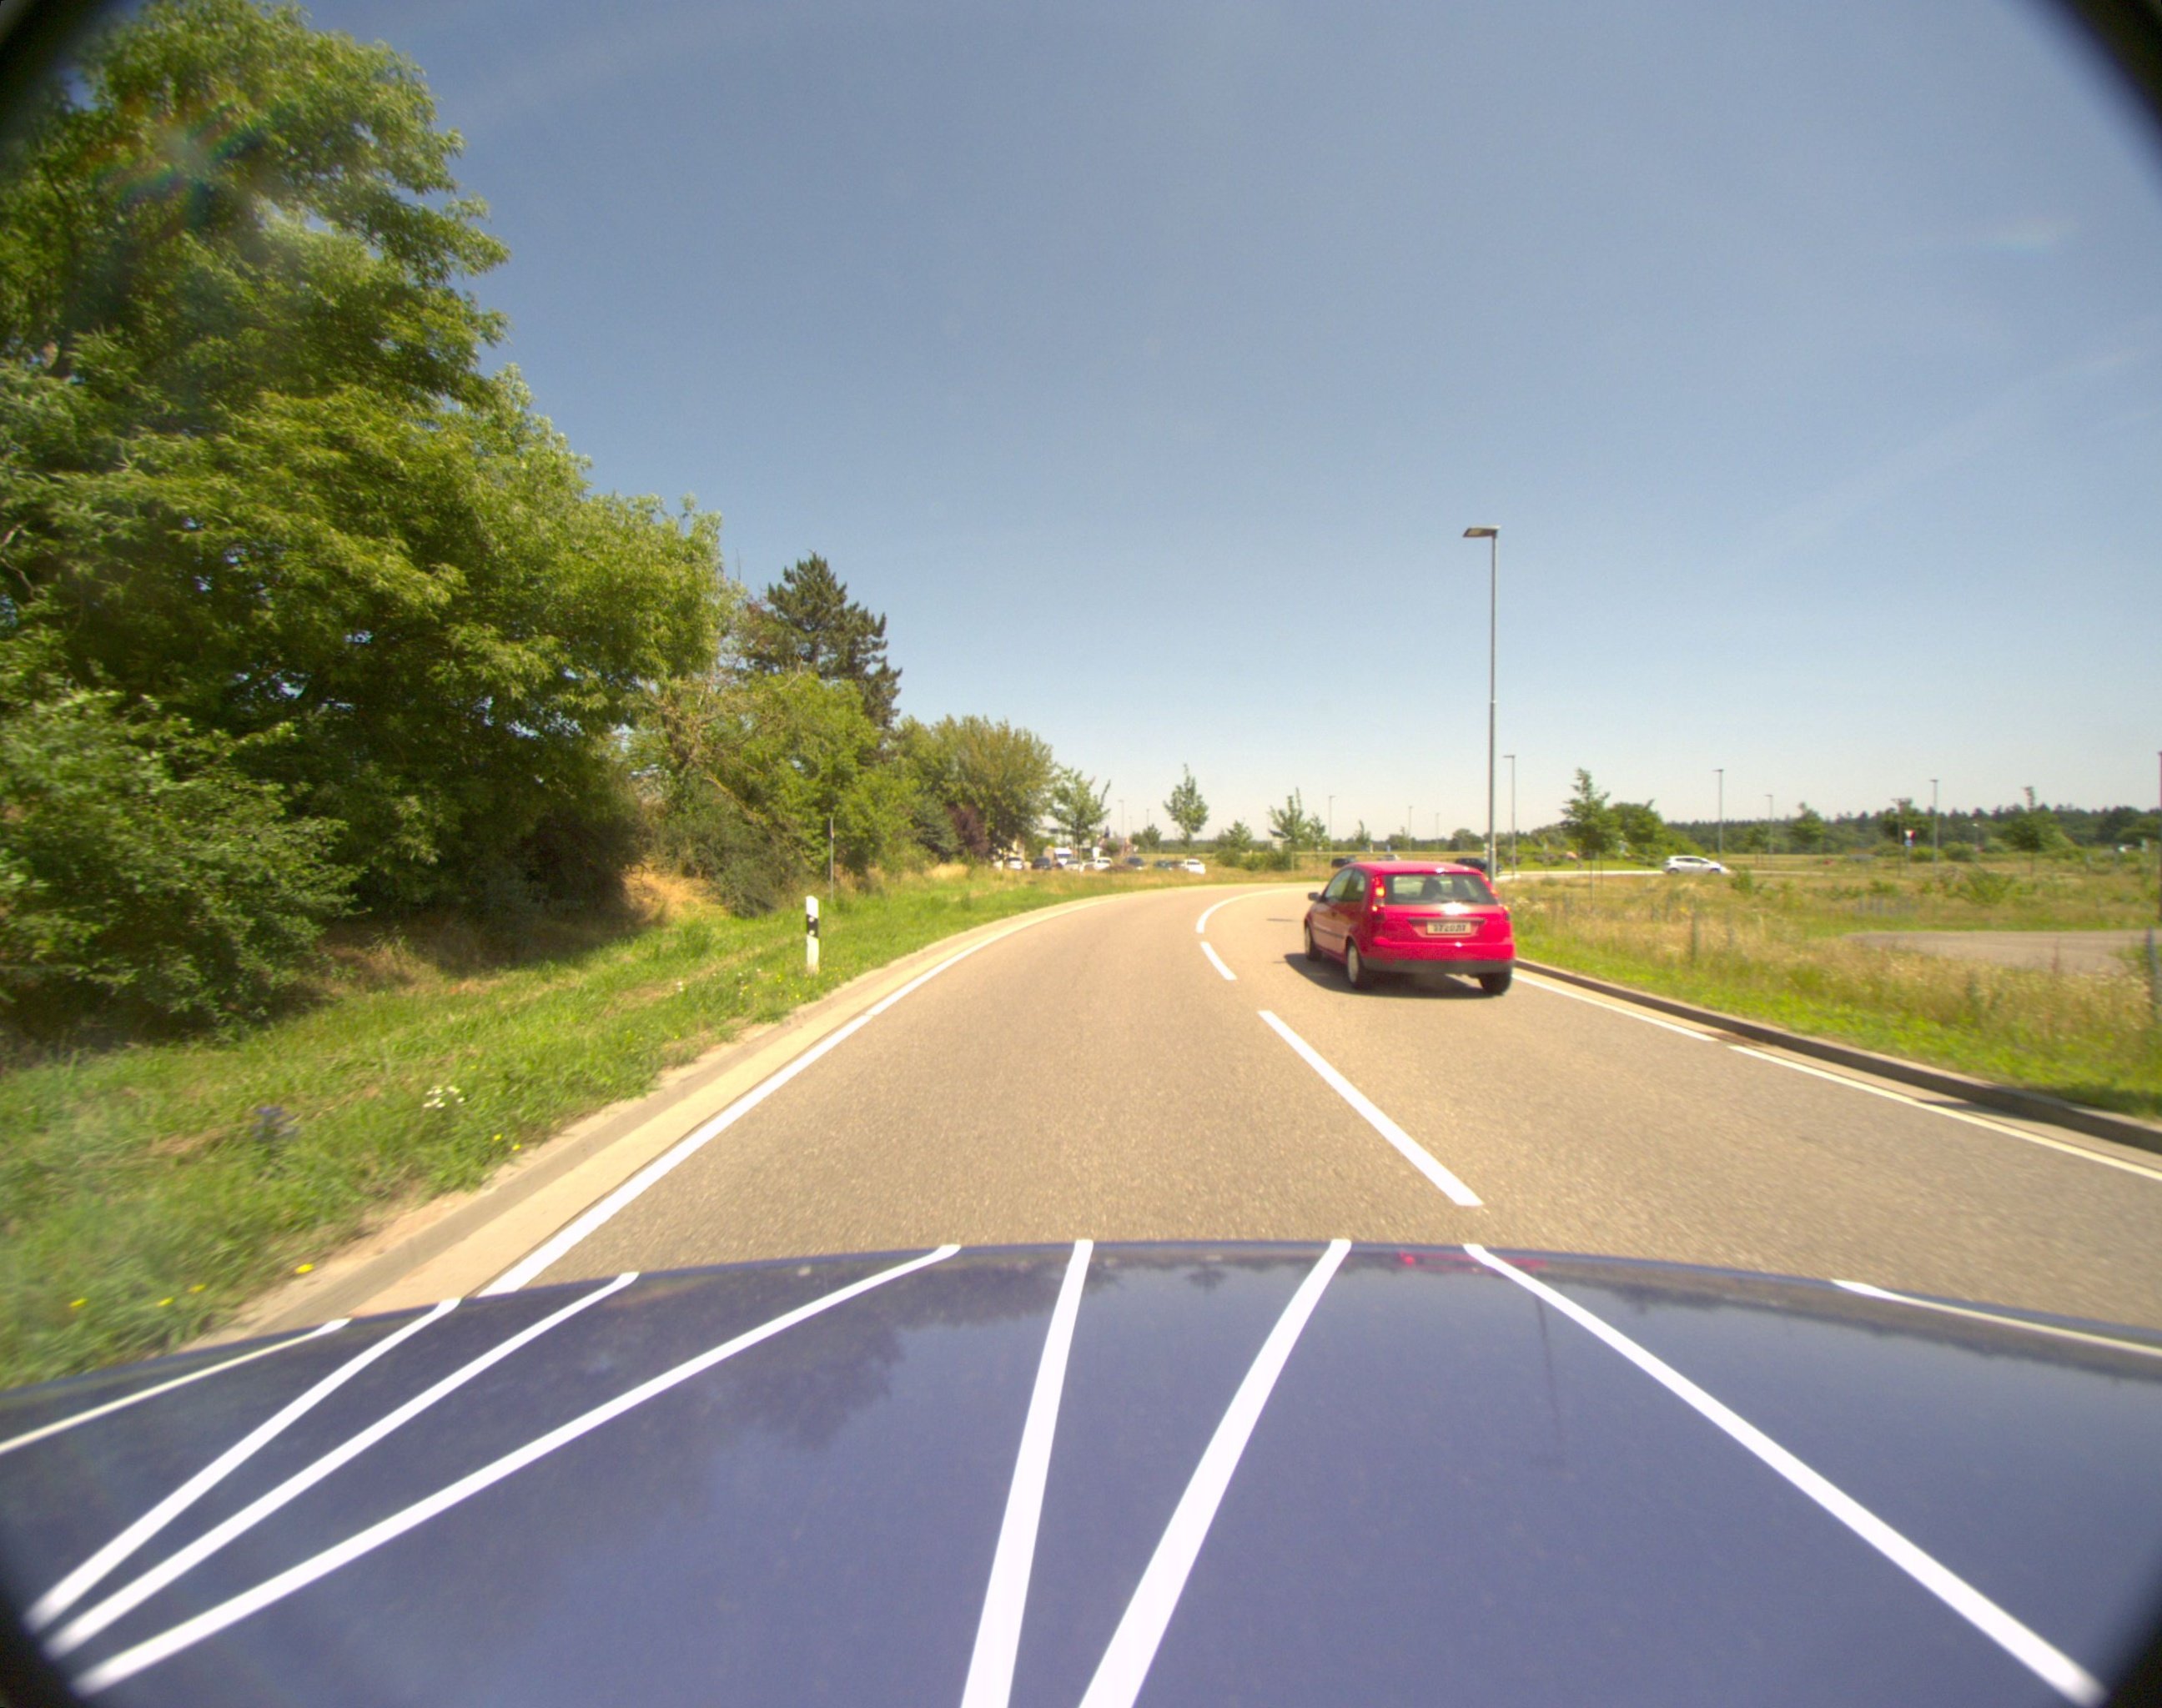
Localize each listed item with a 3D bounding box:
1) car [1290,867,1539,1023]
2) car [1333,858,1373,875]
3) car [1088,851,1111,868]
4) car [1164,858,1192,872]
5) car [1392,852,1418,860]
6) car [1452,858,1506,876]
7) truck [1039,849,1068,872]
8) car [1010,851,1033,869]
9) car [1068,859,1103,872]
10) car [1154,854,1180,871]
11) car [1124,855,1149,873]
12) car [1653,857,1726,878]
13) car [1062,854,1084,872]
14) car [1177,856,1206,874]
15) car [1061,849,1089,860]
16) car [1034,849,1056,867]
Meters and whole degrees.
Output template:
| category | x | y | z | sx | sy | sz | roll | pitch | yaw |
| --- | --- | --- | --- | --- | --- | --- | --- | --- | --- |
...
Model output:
| category | x | y | z | sx | sy | sz | roll | pitch | yaw |
| --- | --- | --- | --- | --- | --- | --- | --- | --- | --- |
| car | 3.837 | 0.943 | 9.474 | 1.659 | 1.425 | 3.737 | 2 | 0 | 4 |
| car | 31.660 | 1.472 | 88.566 | 1.871 | 1.812 | 4.512 | -1 | 1 | -21 |
| car | 1.549 | 0.511 | 64.988 | 1.773 | 1.434 | 3.967 | 0 | -1 | -1 |
| car | 9.526 | 1.058 | 75.134 | 1.747 | 1.303 | 3.997 | 0 | 0 | -8 |
| car | 58.310 | 0.381 | 136.728 | 2.002 | 1.477 | 3.992 | 1 | 0 | -21 |
| car | 37.455 | 1.181 | 71.550 | 1.725 | 1.553 | 4.140 | -1 | 1 | -33 |
| truck | -3.238 | 0.724 | 87.741 | 2.238 | 2.491 | 5.628 | 0 | 1 | -14 |
| car | -5.075 | 0.512 | 64.843 | 1.773 | 1.434 | 3.967 | 0 | -1 | -2 |
| car | 0.490 | 1.316 | 88.538 | 3.988 | 1.385 | 1.654 | 1 | 1 | 40 |
| car | 7.315 | 0.762 | 64.957 | 1.773 | 1.434 | 3.967 | 0 | -1 | -1 |
| car | 4.674 | 0.861 | 64.765 | 1.773 | 1.434 | 3.967 | 0 | -1 | -1 |
| car | 49.985 | 1.071 | 62.495 | 4.507 | 1.553 | 1.873 | 1 | 1 | 33 |
| car | -0.703 | 0.782 | 64.000 | 1.773 | 1.434 | 3.966 | 0 | -1 | -2 |
| car | 9.478 | 0.929 | 65.317 | 1.746 | 1.419 | 3.998 | 1 | 0 | -3 |
| car | -1.326 | 0.117 | 172.171 | 6.126 | 2.569 | 2.358 | 1 | 0 | 11 |
| car | -2.986 | 0.349 | 64.438 | 1.773 | 1.434 | 3.967 | 0 | -1 | -2 |
